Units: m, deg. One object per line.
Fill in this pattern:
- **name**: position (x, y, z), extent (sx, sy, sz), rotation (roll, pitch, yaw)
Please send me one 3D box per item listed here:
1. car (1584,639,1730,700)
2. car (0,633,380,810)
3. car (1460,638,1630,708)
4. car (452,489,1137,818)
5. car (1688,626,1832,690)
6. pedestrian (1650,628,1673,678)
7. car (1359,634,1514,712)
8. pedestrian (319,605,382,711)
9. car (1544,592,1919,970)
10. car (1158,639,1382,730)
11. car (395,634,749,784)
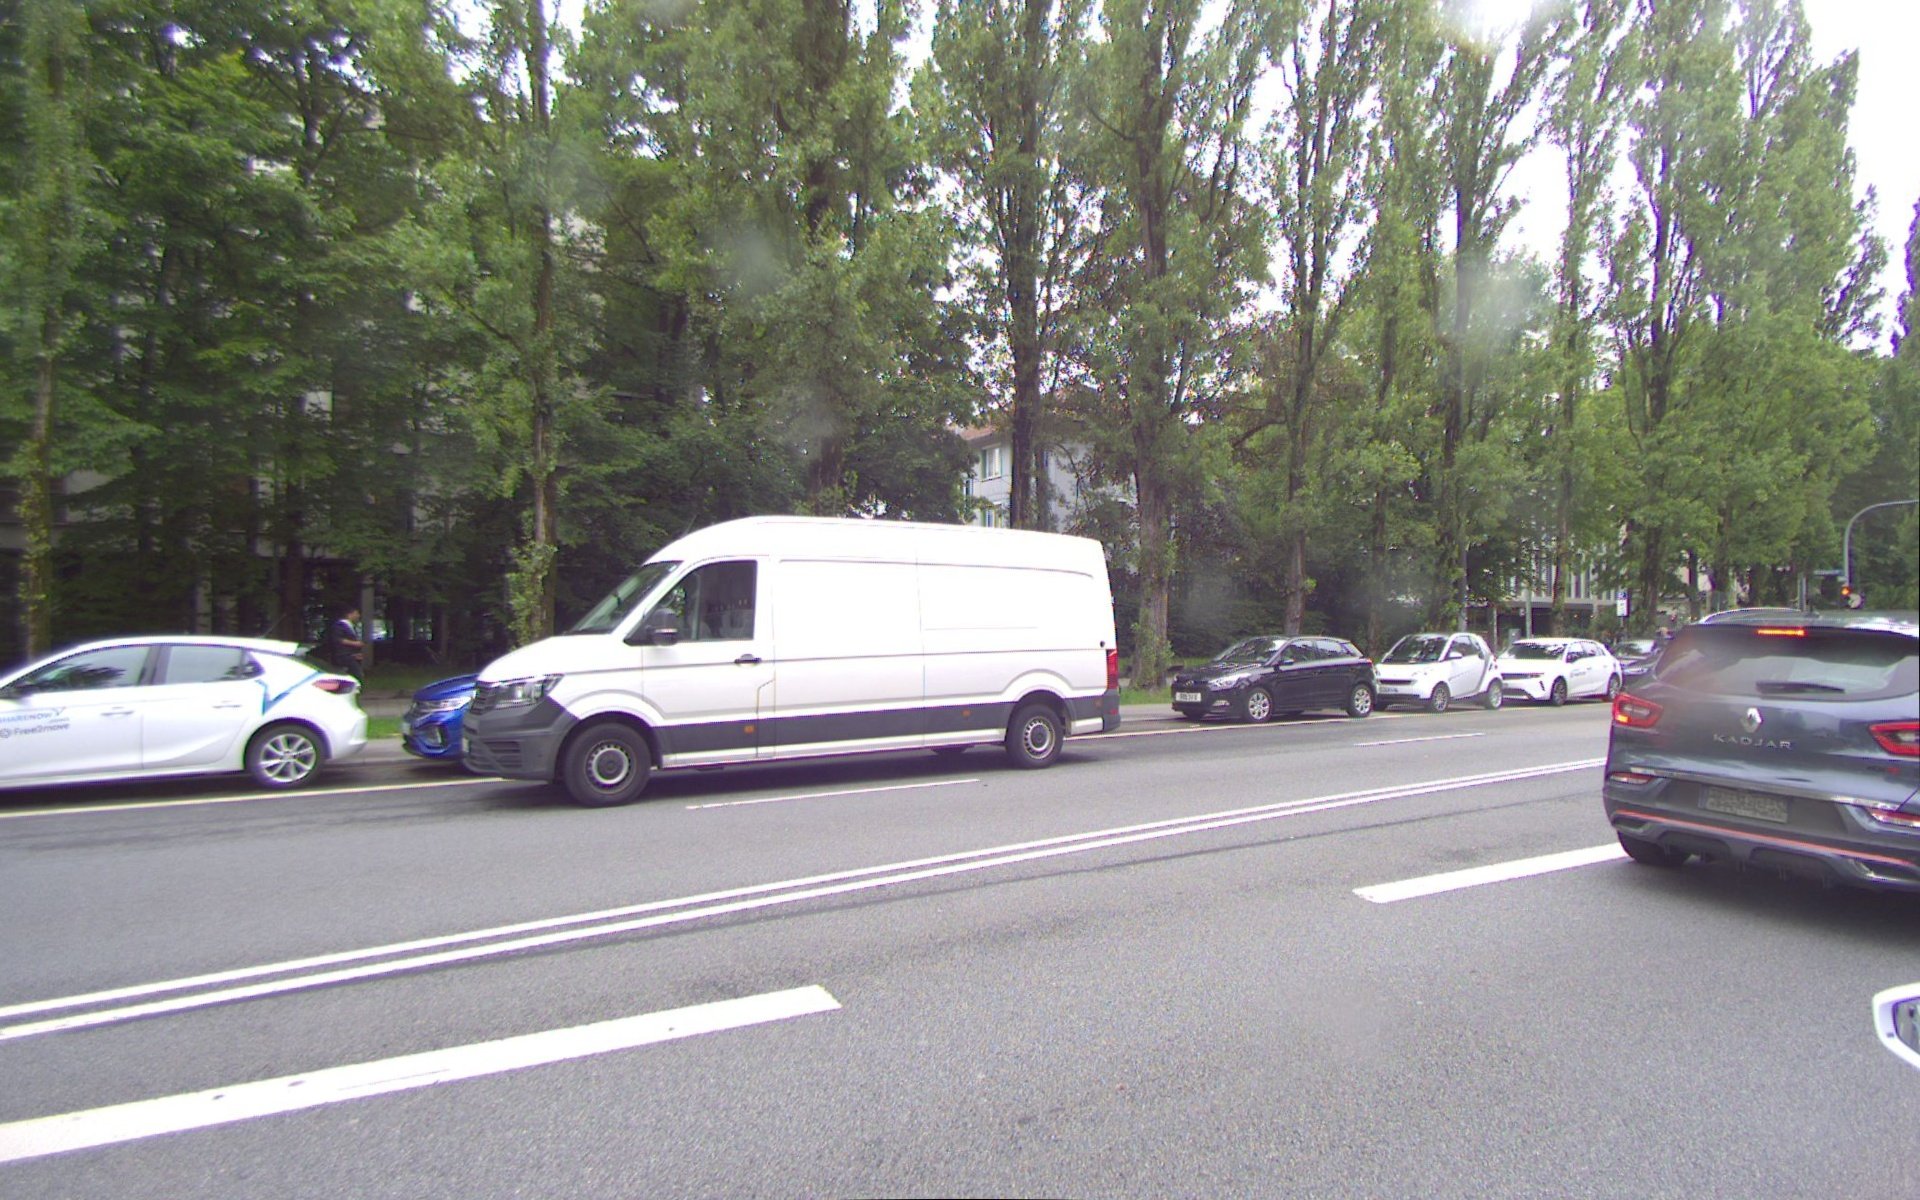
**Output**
- **car**: position (17.664, 1.716, 25.404), extent (4.123, 1.407, 1.614), rotation (1, -4, -34)
- **car**: position (-7.920, 1.074, 9.457), extent (4.187, 1.471, 1.761), rotation (1, -4, -33)
- **car**: position (13.098, 1.585, 22.432), extent (4.123, 1.407, 1.614), rotation (1, -4, -34)
- **car**: position (-1.431, 0.520, 10.423), extent (6.683, 2.515, 2.216), rotation (1, -3, -32)
- **car**: position (22.697, 1.629, 28.448), extent (4.646, 1.675, 1.838), rotation (1, -4, -34)
- **pedestrian**: position (21.991, 1.644, 31.487), extent (0.390, 1.548, 0.463), rotation (1, -1, -30)
- **car**: position (9.611, 1.442, 20.238), extent (2.932, 1.466, 1.420), rotation (1, -4, -32)
- **pedestrian**: position (-10.699, 1.002, 17.658), extent (0.879, 1.795, 0.733), rotation (1, 0, -30)
- **car**: position (5.573, 0.805, 5.931), extent (4.135, 1.607, 1.827), rotation (1, 0, -29)
- **car**: position (5.476, 1.431, 17.665), extent (3.805, 1.444, 1.594), rotation (1, -4, -30)
- **car**: position (-4.410, 1.153, 11.543), extent (3.547, 1.470, 1.700), rotation (1, -4, -33)
